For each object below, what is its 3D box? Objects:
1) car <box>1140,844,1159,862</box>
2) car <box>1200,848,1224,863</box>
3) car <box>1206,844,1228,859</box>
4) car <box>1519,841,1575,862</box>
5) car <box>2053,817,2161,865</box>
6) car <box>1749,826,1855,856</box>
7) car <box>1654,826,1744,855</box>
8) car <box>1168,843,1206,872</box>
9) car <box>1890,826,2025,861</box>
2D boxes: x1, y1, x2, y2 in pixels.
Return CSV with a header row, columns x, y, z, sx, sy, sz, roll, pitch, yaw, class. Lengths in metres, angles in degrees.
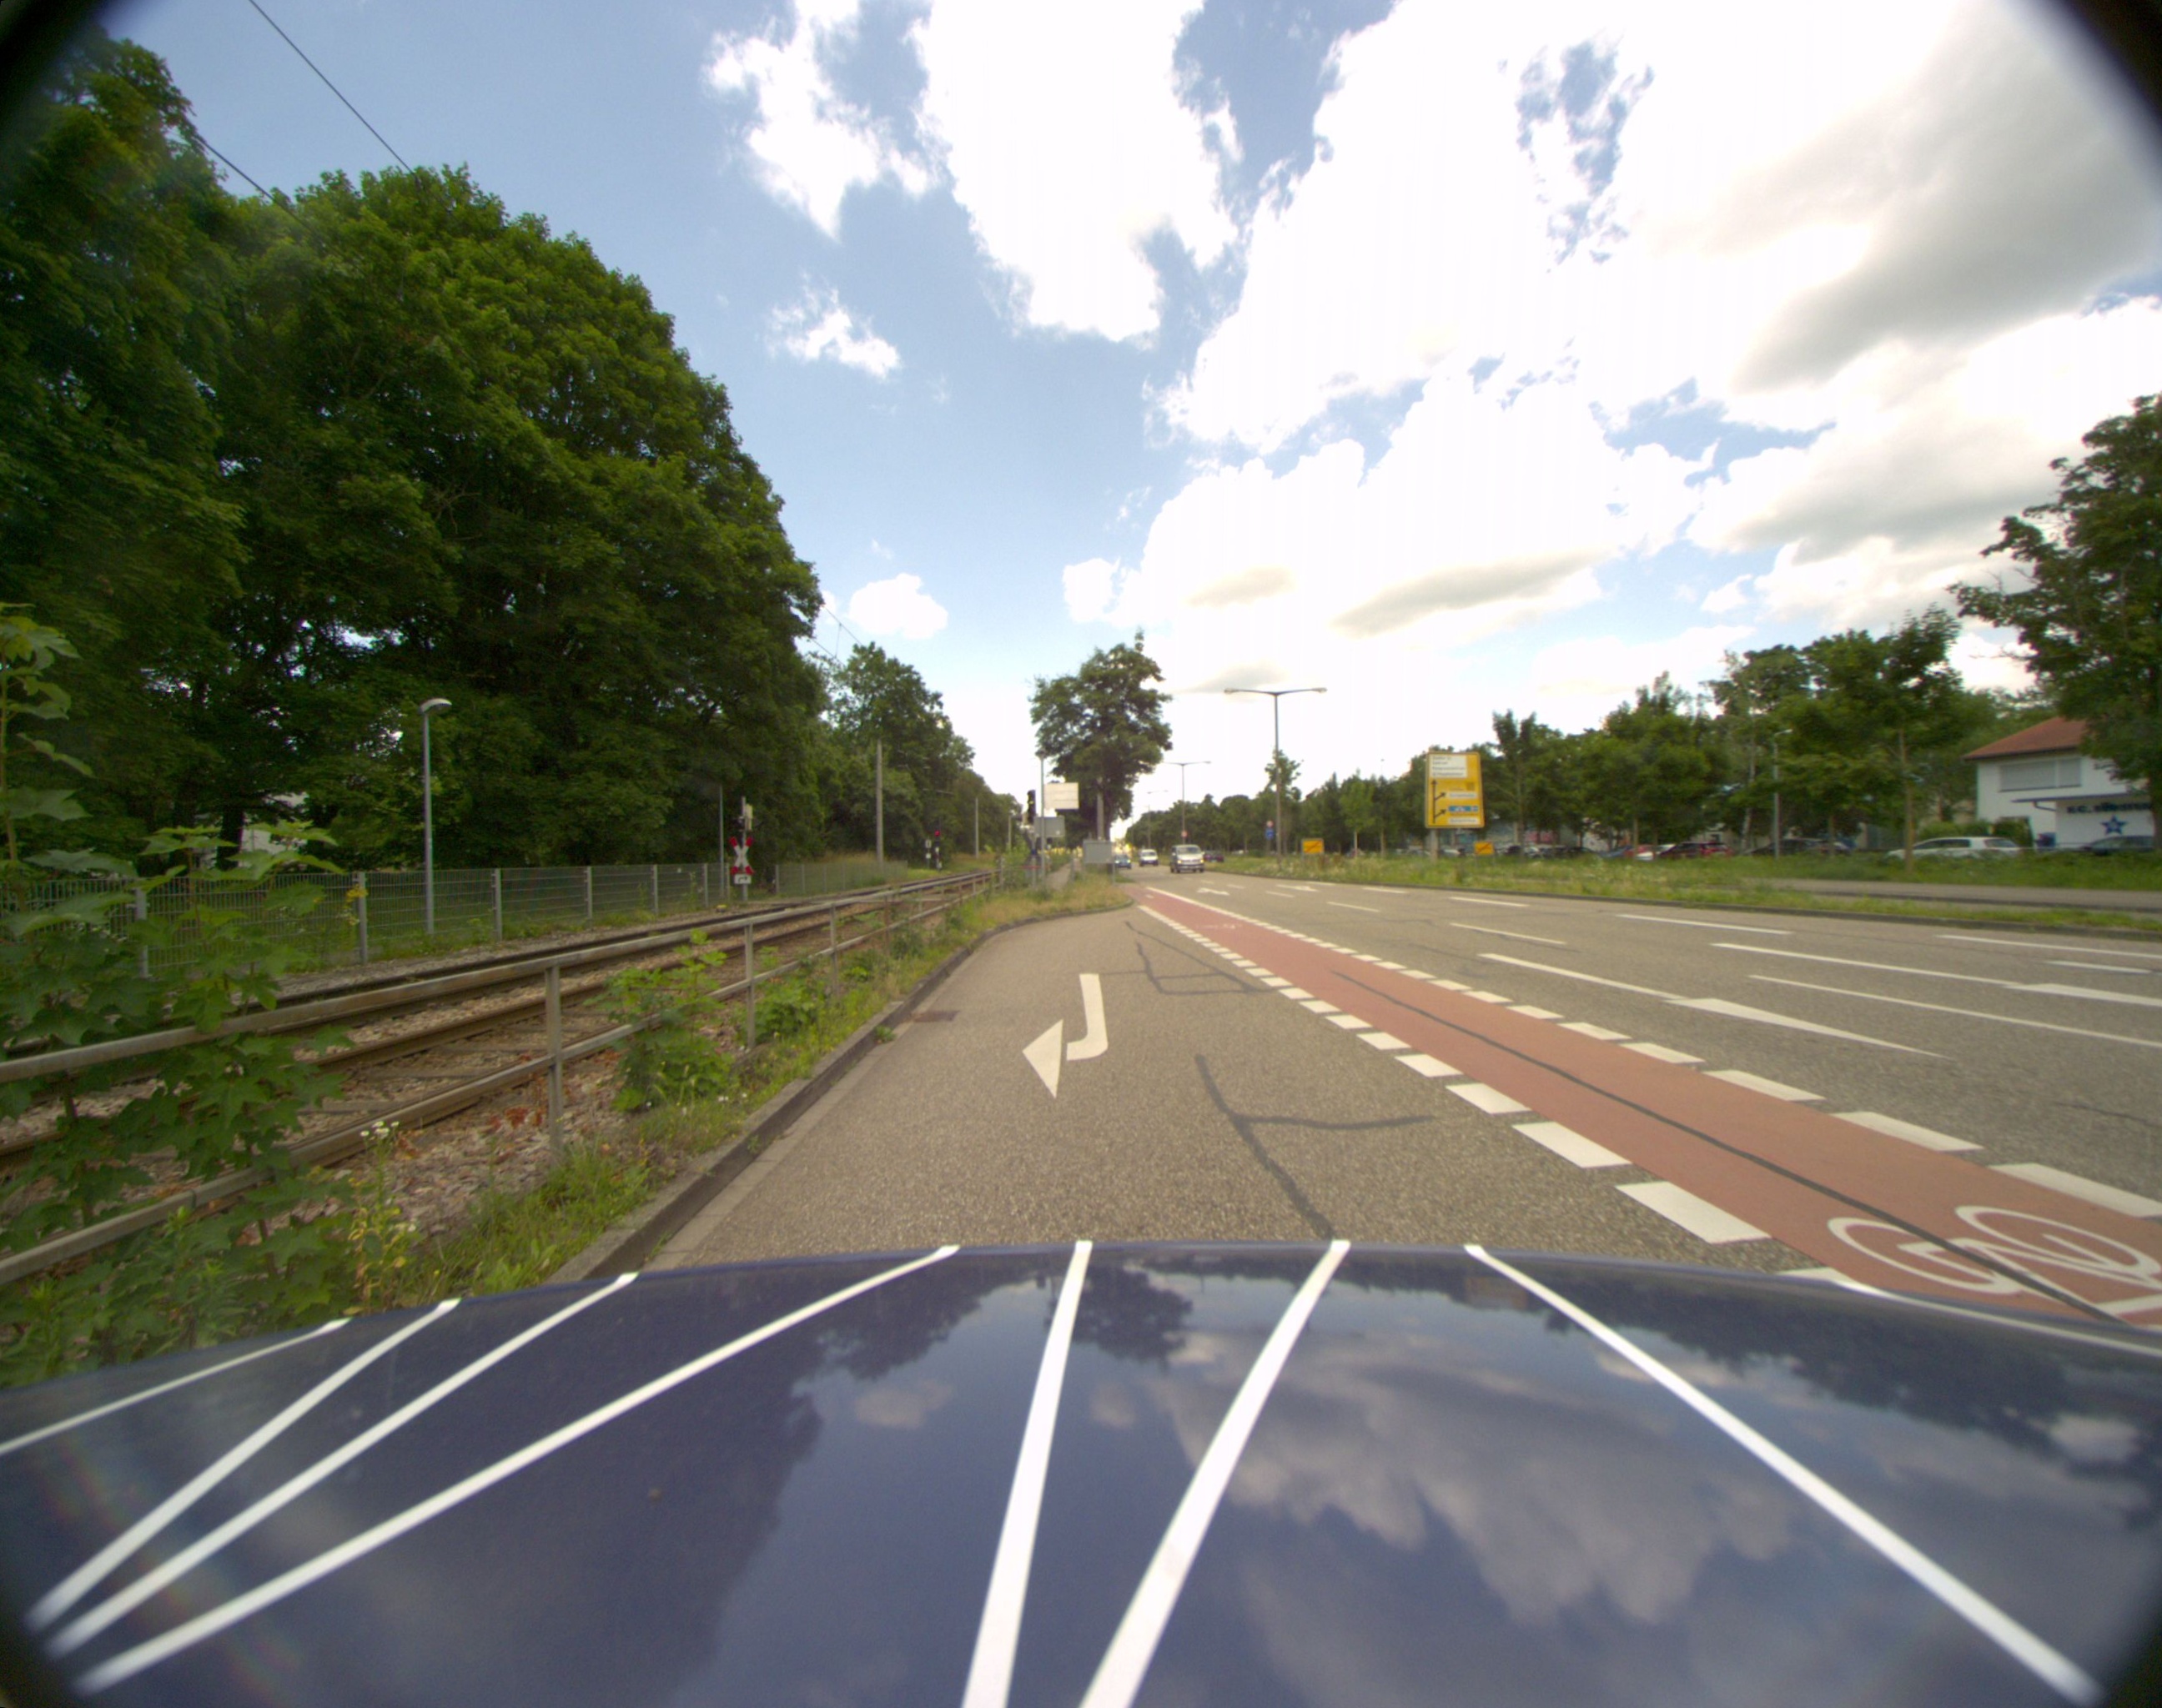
x,y,z,sx,sy,sz,roll,pitch,yaw,class
7.360,-0.134,81.680,1.747,1.775,4.156,-2,1,2,car
13.245,0.135,76.872,1.686,1.437,3.692,-1,0,-2,car
16.020,-0.308,89.909,1.917,1.736,4.000,-1,0,1,car
36.945,-0.174,60.372,1.998,1.578,4.023,-1,0,1,car
36.506,-0.449,25.845,1.762,1.578,4.023,-1,0,1,car
36.149,-0.623,38.248,1.729,1.403,3.866,-1,0,1,car
36.174,-0.779,44.619,1.998,1.578,4.023,-1,0,1,car
7.494,0.223,54.227,1.818,1.907,5.231,-1,1,-2,car
36.244,-0.414,31.549,1.625,1.324,3.476,-1,0,1,car
